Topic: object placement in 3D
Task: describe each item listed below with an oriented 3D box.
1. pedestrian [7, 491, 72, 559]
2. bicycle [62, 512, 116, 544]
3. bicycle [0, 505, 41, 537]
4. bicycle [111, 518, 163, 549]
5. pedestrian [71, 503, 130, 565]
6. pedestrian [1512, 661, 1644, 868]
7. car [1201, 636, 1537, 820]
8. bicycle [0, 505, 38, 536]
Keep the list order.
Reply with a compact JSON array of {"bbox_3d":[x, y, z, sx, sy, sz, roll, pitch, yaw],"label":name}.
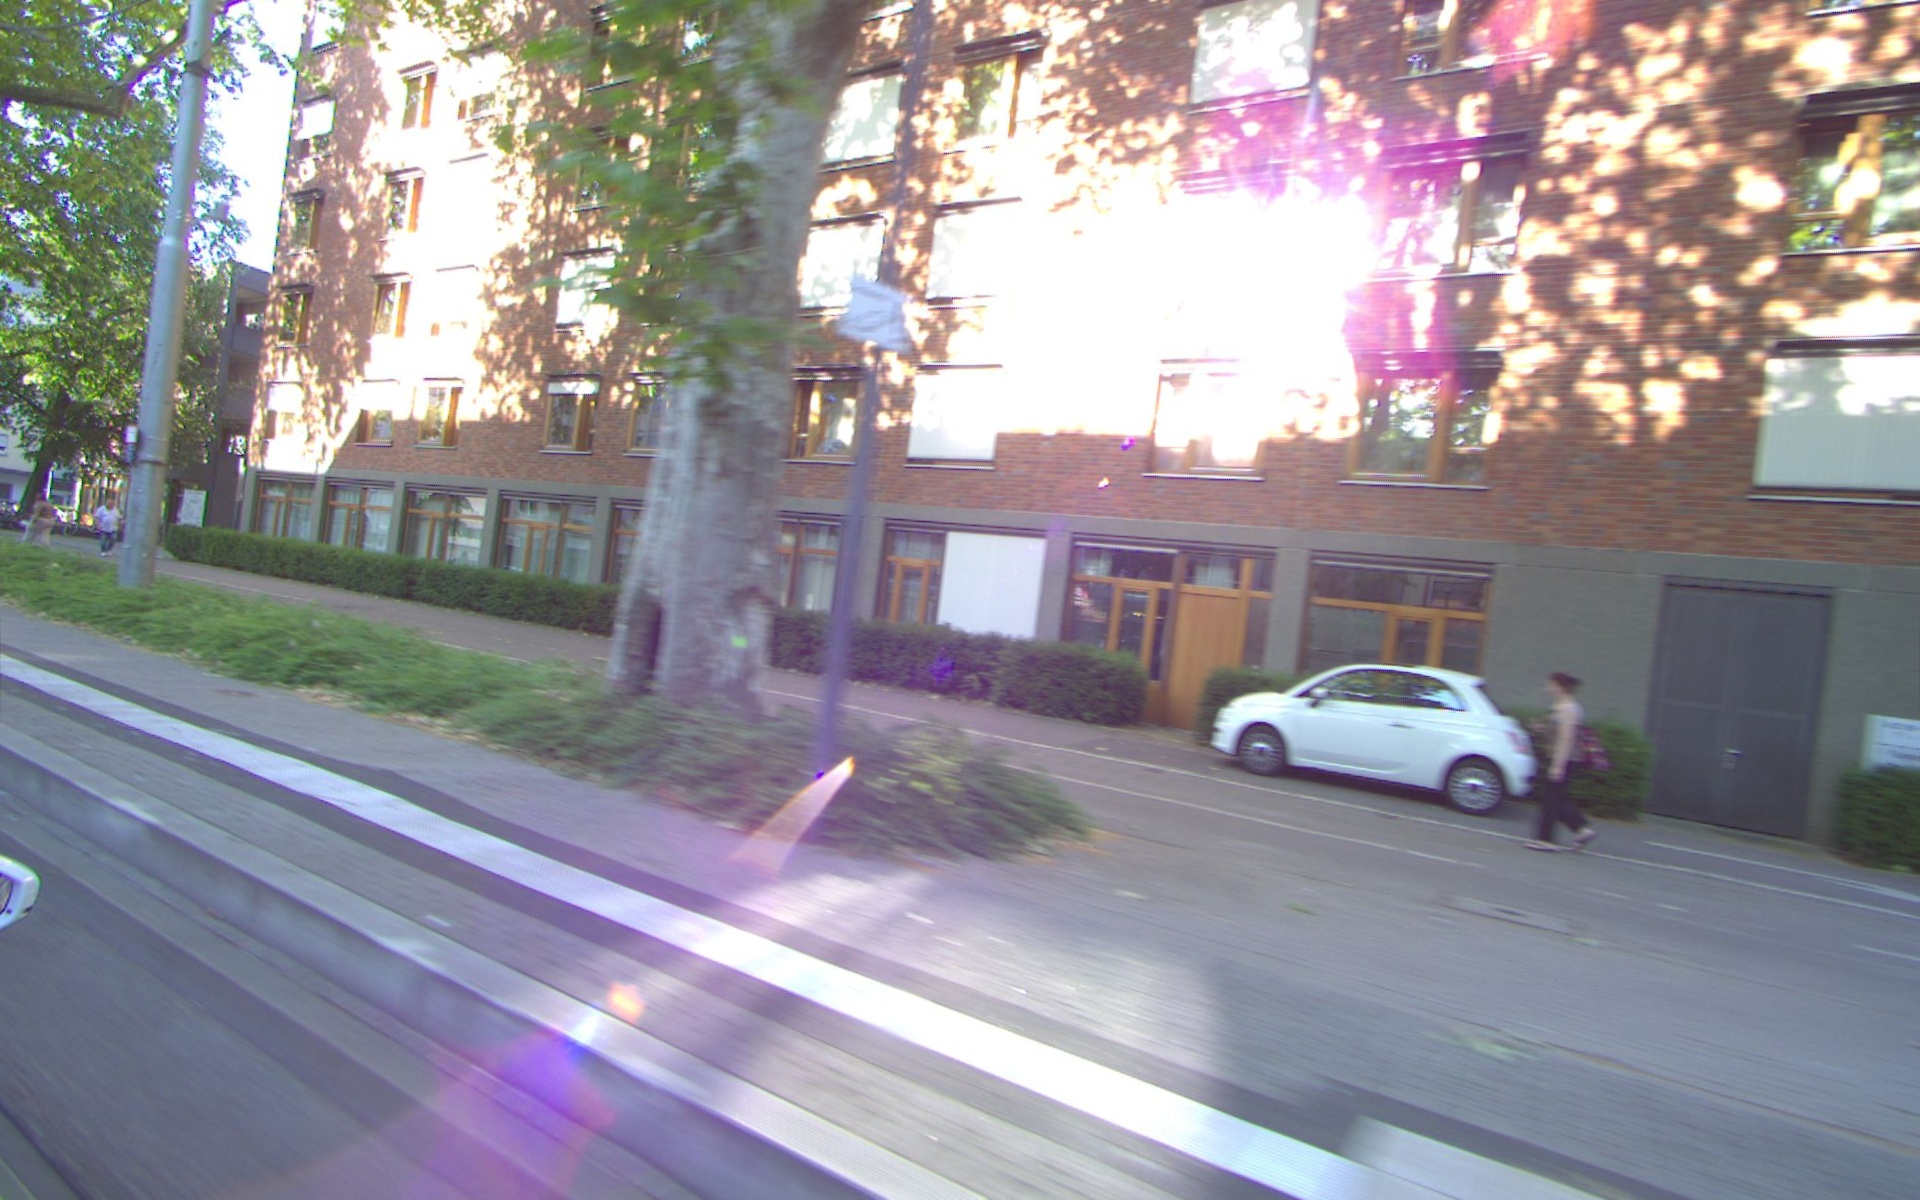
[{"bbox_3d":[-24.661,-1.998,26.956,0.873,1.643,0.973,7,0,31],"label":"pedestrian"},{"bbox_3d":[-35.169,-2.910,40.636,1.558,1.050,0.474,8,0,-38],"label":"bicycle"},{"bbox_3d":[-36.353,-3.072,38.535,1.558,1.050,0.474,8,0,-38],"label":"bicycle"},{"bbox_3d":[-34.355,-2.768,42.017,1.557,1.050,0.474,8,0,-36],"label":"bicycle"},{"bbox_3d":[-25.492,-1.947,29.845,0.873,1.643,0.973,7,0,31],"label":"pedestrian"},{"bbox_3d":[5.602,1.455,9.159,0.821,1.689,0.736,7,0,31],"label":"pedestrian"},{"bbox_3d":[4.804,1.411,11.896,3.359,1.513,1.603,7,-1,30],"label":"car"},{"bbox_3d":[-37.026,-3.141,39.154,1.558,1.050,0.499,8,0,-38],"label":"bicycle"}]
